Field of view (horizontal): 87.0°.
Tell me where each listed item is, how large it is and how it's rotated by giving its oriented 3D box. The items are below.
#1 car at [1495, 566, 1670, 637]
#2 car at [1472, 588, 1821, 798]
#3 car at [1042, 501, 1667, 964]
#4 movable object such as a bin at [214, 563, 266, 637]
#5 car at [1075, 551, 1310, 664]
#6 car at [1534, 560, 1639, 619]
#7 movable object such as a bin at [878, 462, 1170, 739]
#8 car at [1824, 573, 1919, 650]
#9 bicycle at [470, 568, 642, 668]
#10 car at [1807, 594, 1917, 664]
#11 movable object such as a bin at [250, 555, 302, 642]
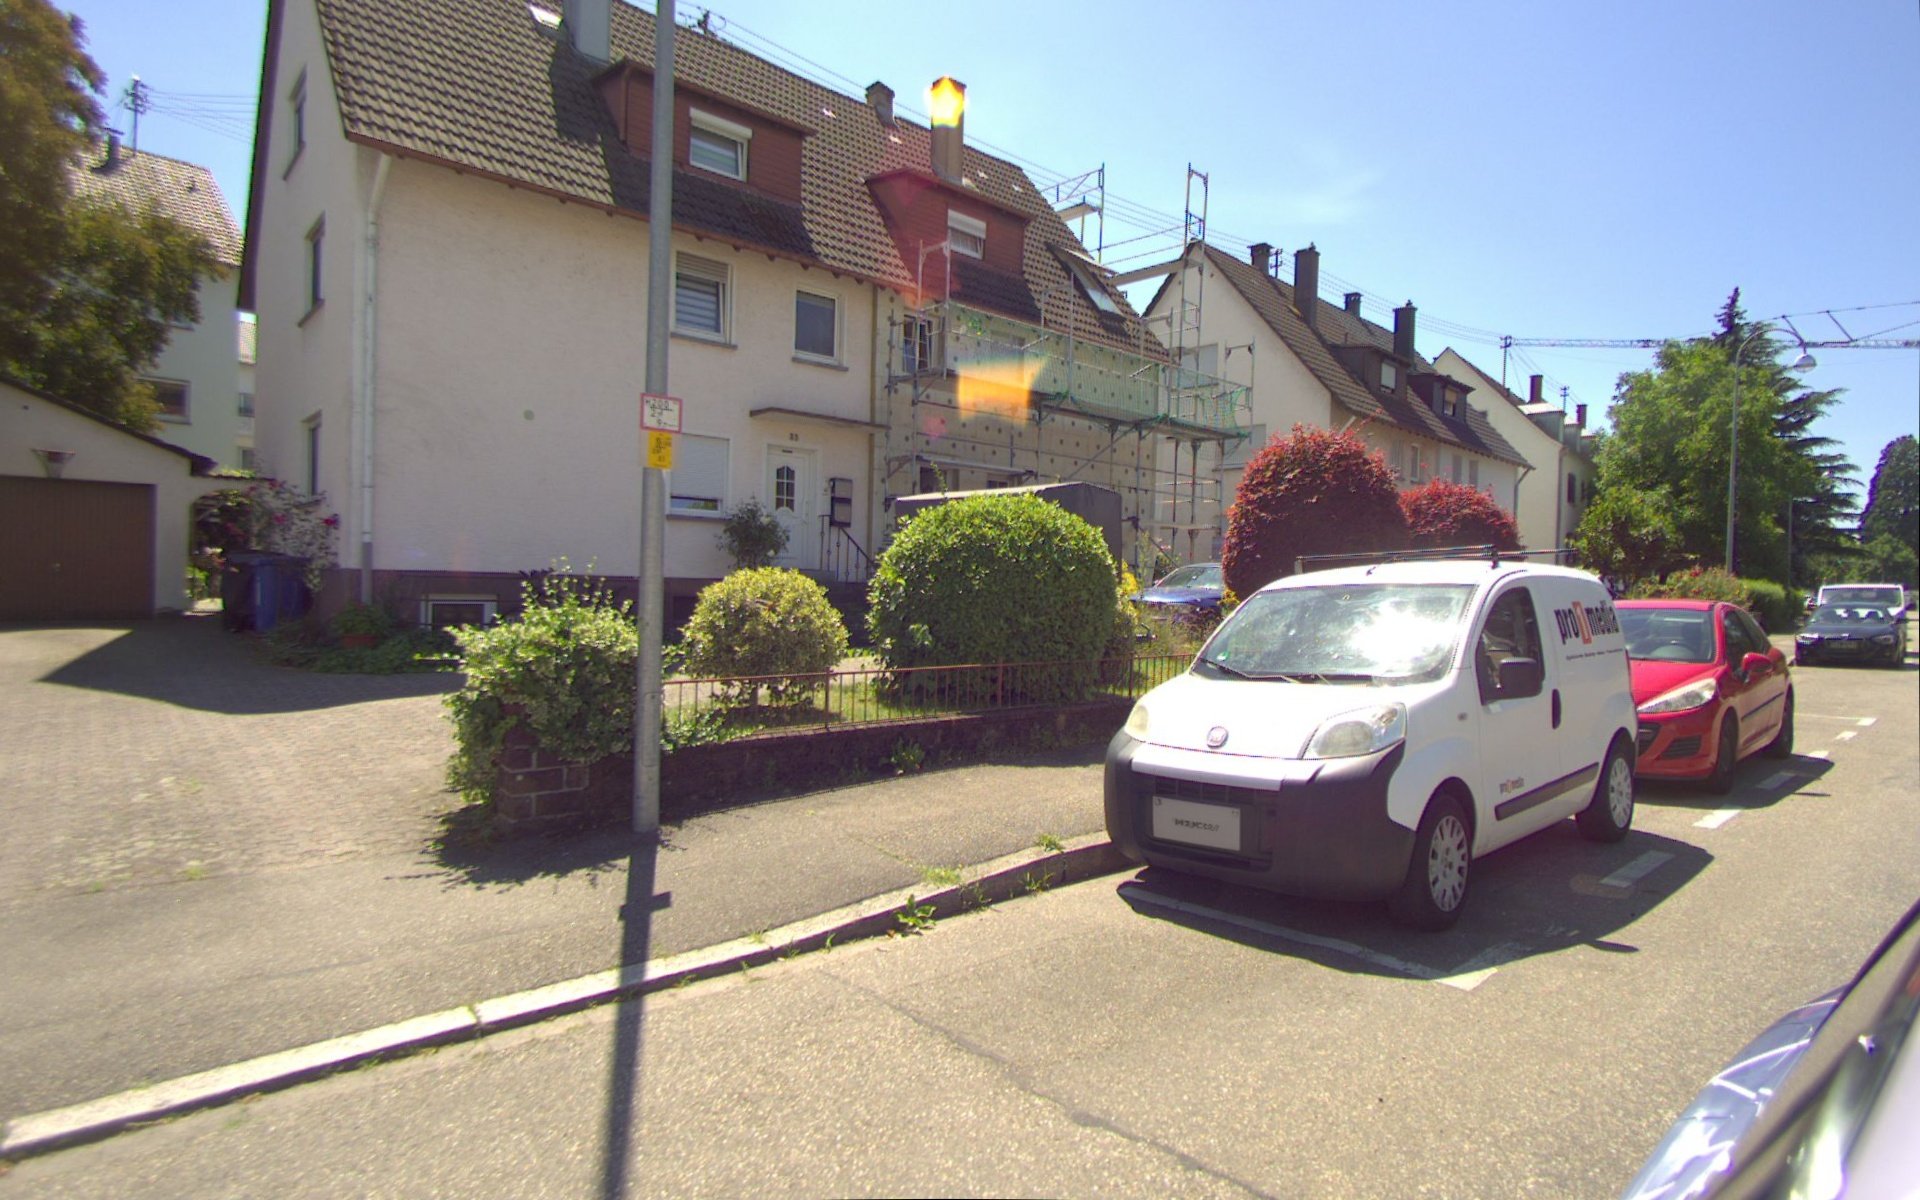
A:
[{"bbox_3d":[16.075,-0.008,26.158,3.966,1.552,1.750,-3,4,-20],"label":"car"},{"bbox_3d":[6.243,0.643,9.028,3.931,1.473,1.666,-1,0,-42],"label":"car"},{"bbox_3d":[2.465,0.480,5.815,3.931,1.777,1.666,-2,-1,-41],"label":"car"},{"bbox_3d":[-10.252,-0.005,14.409,0.523,1.014,0.854,0,1,-40],"label":"movable object such as a bin"},{"bbox_3d":[3.763,0.089,15.987,1.795,1.529,3.936,4,2,44],"label":"car"},{"bbox_3d":[22.287,-0.351,35.934,4.319,1.879,1.750,1,2,-39],"label":"car"},{"bbox_3d":[0.669,-0.003,11.893,1.679,2.781,3.148,0,0,-43],"label":"movable object such as a bin"},{"bbox_3d":[25.412,0.266,28.176,1.902,1.949,4.646,0,1,43],"label":"car"},{"bbox_3d":[-4.910,0.186,12.402,1.912,1.121,0.455,-2,4,-40],"label":"bicycle"},{"bbox_3d":[20.337,0.577,22.769,1.657,1.415,3.936,0,0,44],"label":"car"},{"bbox_3d":[-9.364,-0.025,13.847,0.523,1.165,0.600,0,0,-41],"label":"movable object such as a bin"}]
